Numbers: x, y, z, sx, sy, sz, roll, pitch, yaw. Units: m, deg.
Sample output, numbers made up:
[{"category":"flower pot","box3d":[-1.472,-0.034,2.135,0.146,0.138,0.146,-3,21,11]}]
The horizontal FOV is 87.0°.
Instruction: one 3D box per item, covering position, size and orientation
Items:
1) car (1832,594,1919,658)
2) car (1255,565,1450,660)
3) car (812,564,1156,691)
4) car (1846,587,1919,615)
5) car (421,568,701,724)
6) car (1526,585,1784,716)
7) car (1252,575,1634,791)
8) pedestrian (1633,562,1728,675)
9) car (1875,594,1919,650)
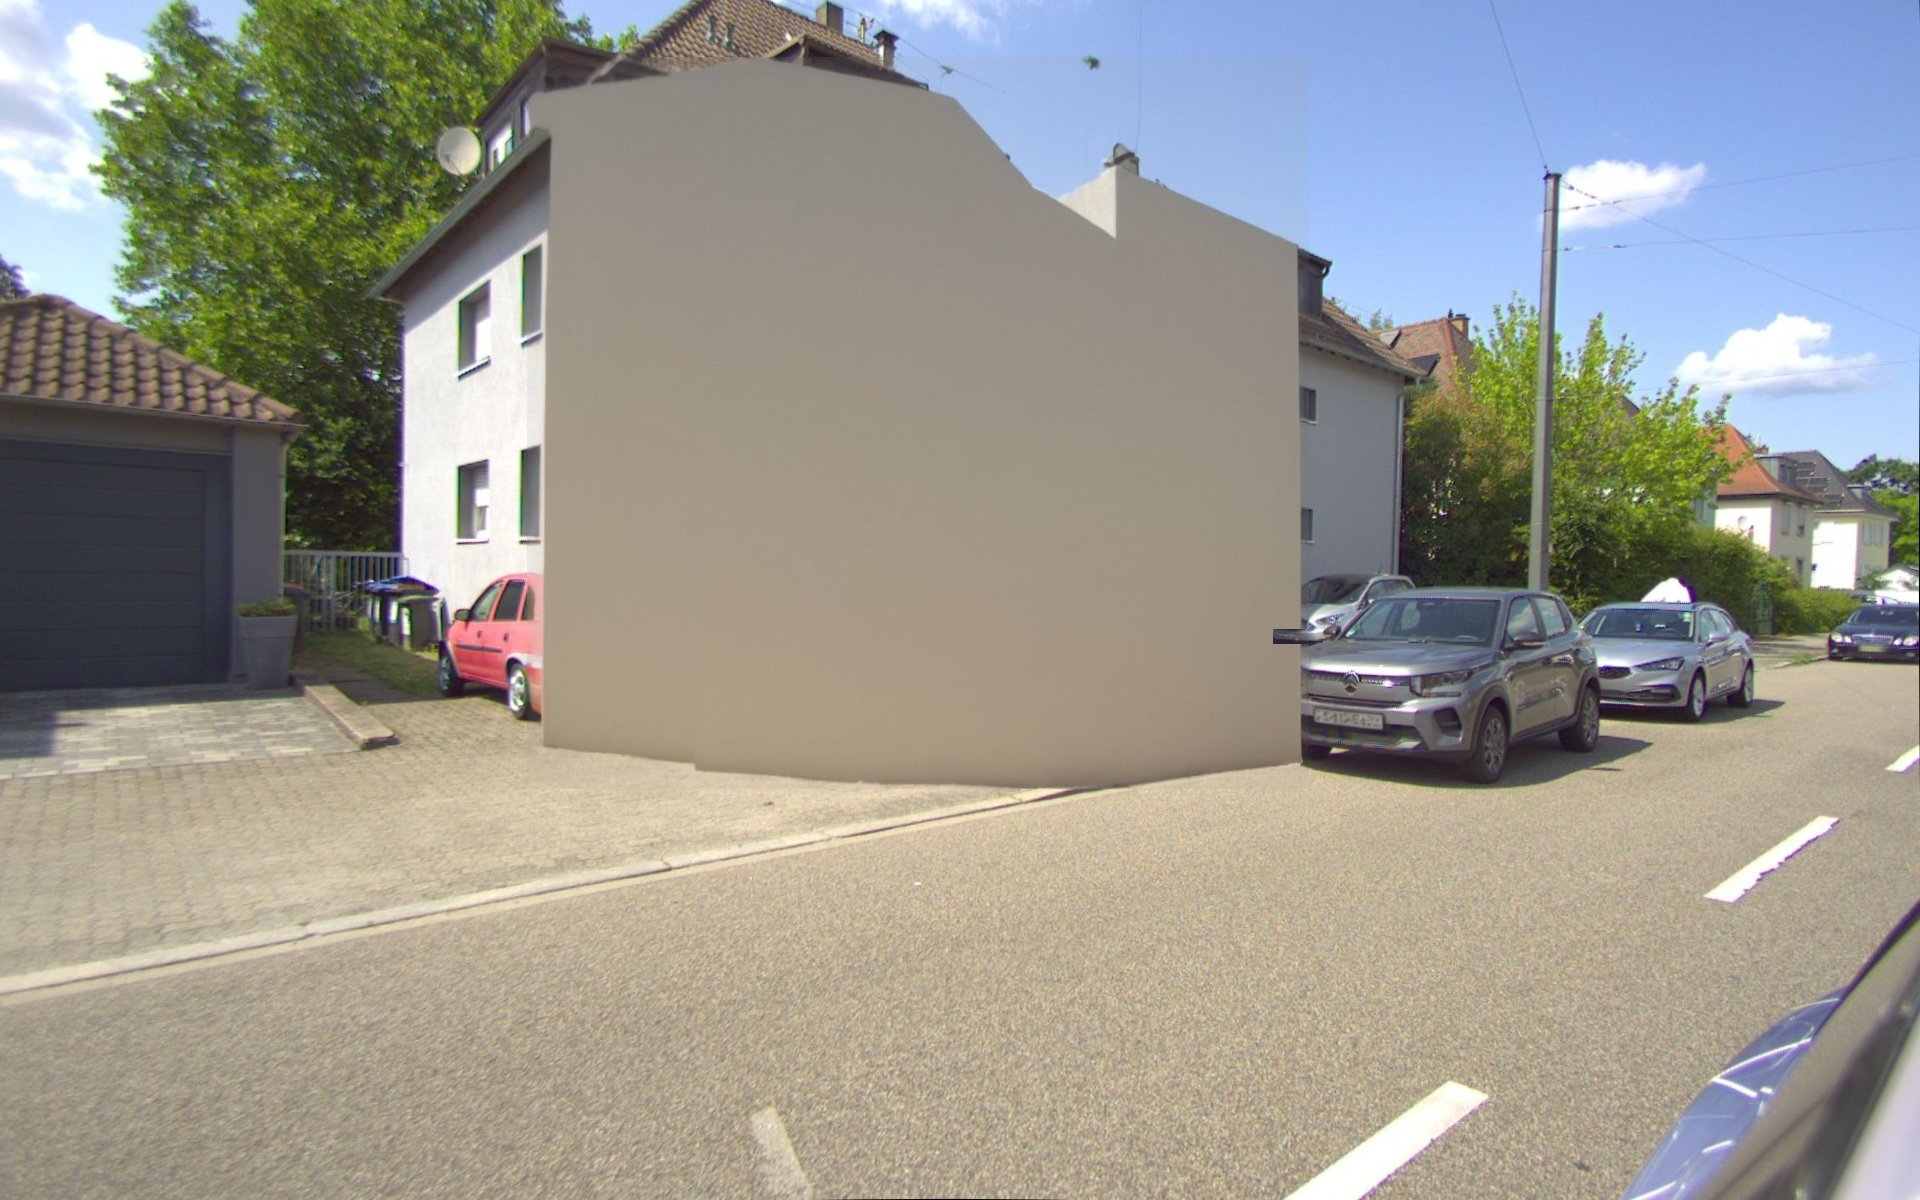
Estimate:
[{"category":"car","box3d":[23.853,0.605,25.571,4.966,1.462,1.904,0,0,-39]},{"category":"car","box3d":[7.964,0.170,20.315,4.689,1.667,1.759,-1,3,-43]},{"category":"car","box3d":[0.472,0.280,14.016,4.772,1.441,1.802,0,3,-41]},{"category":"car","box3d":[55.835,0.086,60.113,1.730,1.478,4.465,0,3,-36]},{"category":"car","box3d":[-4.471,0.356,11.075,1.697,1.397,3.654,-1,2,-42]},{"category":"car","box3d":[9.501,0.540,13.684,4.563,1.472,1.818,-1,1,-41]},{"category":"car","box3d":[4.669,0.572,9.489,4.181,1.579,1.809,-1,1,-42]},{"category":"pedestrian","box3d":[13.068,0.300,18.362,1.072,1.970,1.115,0,2,-37]},{"category":"car","box3d":[27.952,0.584,28.995,4.917,1.473,1.894,-1,1,-40]}]
